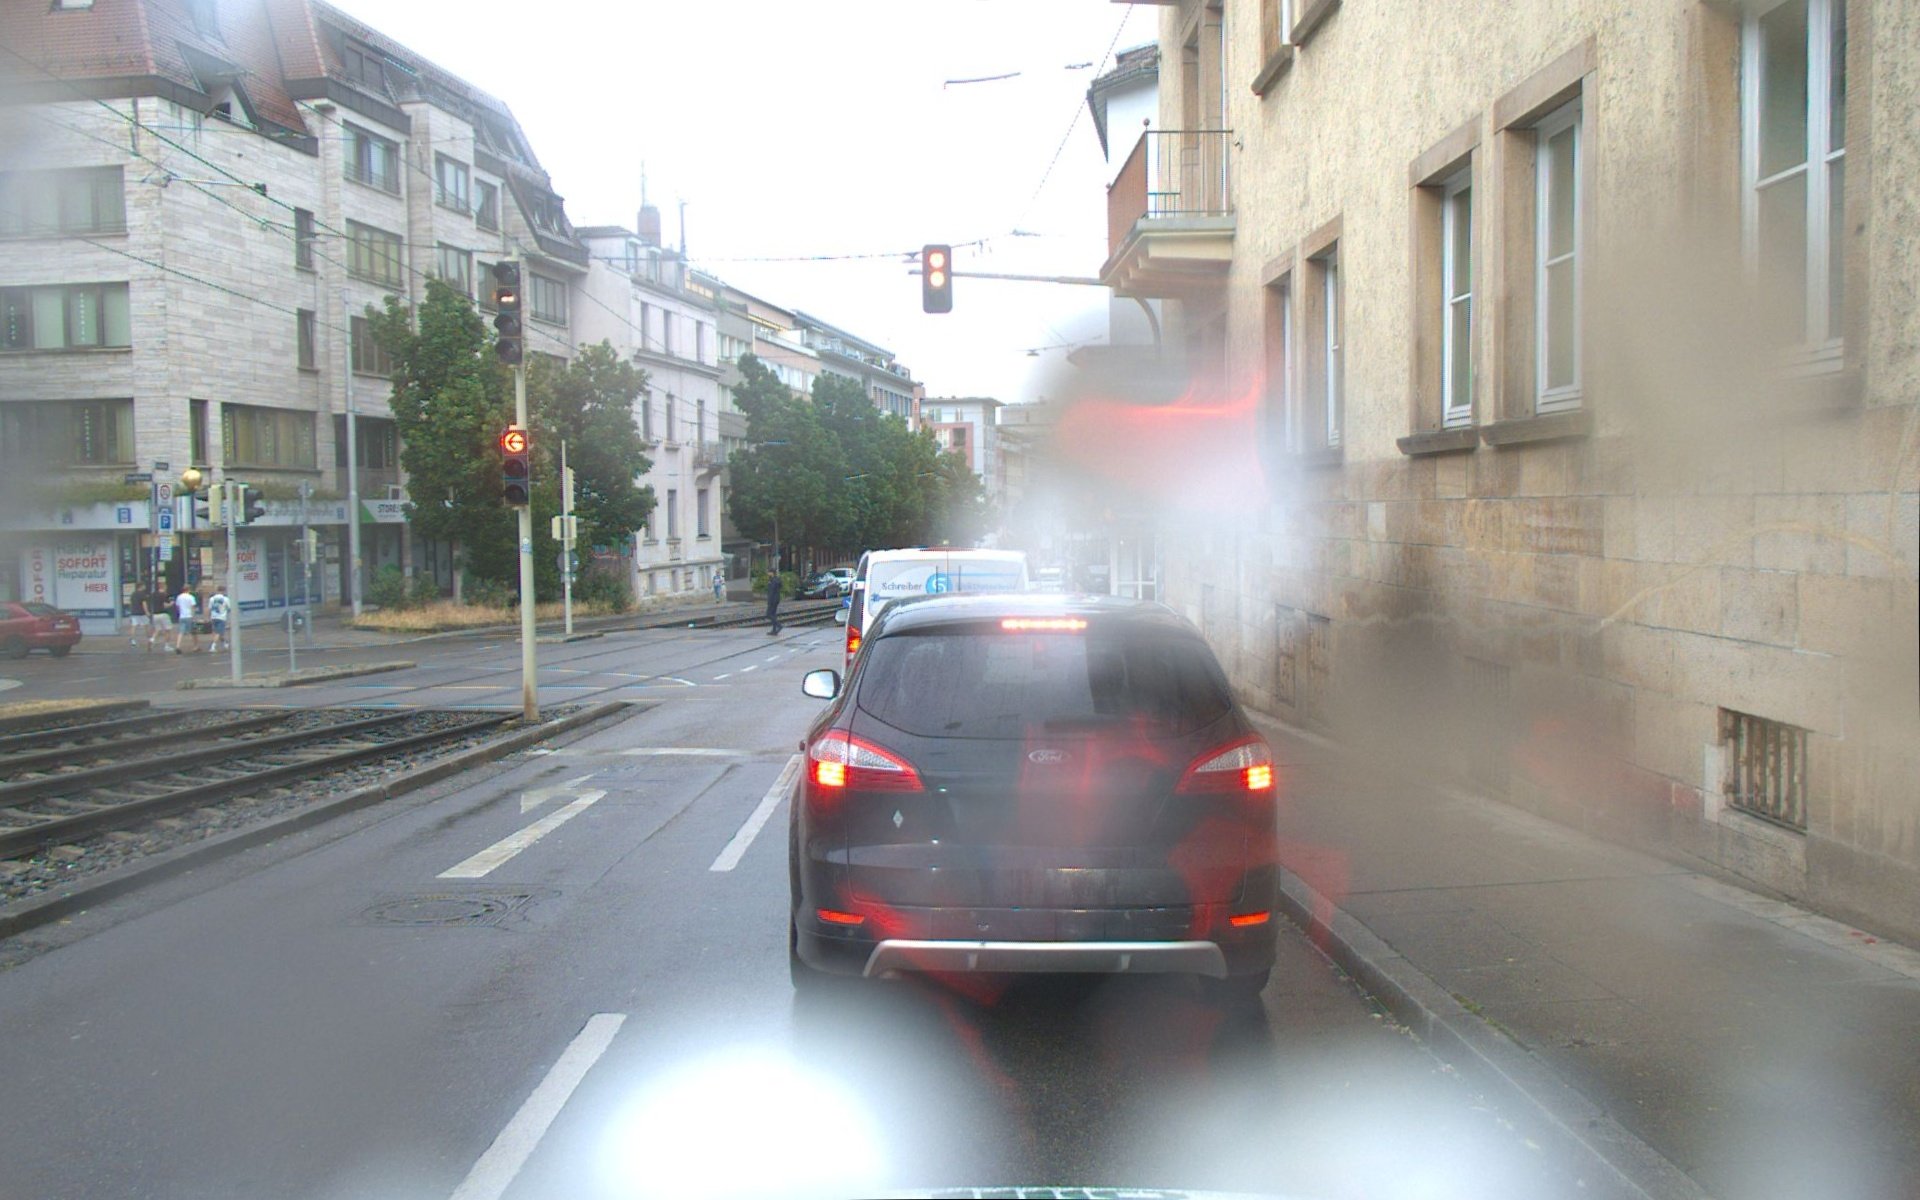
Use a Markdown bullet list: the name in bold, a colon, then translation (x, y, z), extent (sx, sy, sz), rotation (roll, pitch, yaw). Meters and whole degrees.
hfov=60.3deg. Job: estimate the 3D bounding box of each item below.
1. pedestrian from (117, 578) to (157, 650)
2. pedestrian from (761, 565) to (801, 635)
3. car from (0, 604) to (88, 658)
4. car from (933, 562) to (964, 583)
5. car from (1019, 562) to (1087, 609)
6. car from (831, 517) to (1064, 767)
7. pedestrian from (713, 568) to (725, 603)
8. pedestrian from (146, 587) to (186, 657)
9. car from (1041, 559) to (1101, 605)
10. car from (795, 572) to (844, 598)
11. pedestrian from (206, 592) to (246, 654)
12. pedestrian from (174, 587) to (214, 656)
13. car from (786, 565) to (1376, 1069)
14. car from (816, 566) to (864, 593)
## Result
- **pedestrian**: translation (-21.820, 0.369, 43.858), extent (0.634, 1.874, 0.684), rotation (1, 0, 7)
- **pedestrian**: translation (-4.854, -0.002, 44.812), extent (0.911, 1.862, 0.960), rotation (1, 0, 1)
- **car**: translation (-24.371, 0.783, 42.164), extent (3.614, 1.341, 1.595), rotation (-1, 0, 12)
- **car**: translation (-0.982, -2.334, 139.819), extent (1.816, 1.665, 4.939), rotation (0, 0, 9)
- **car**: translation (3.203, -0.485, 55.926), extent (1.763, 1.481, 4.590), rotation (-2, 0, 9)
- **car**: translation (-0.171, 0.360, 16.359), extent (1.948, 2.096, 4.643), rotation (1, 0, -2)
- **pedestrian**: translation (-11.702, -0.702, 80.354), extent (0.458, 1.681, 0.582), rotation (1, 0, -3)
- **pedestrian**: translation (-20.652, 0.573, 43.043), extent (0.634, 1.780, 0.684), rotation (1, 0, 7)
- **car**: translation (4.250, -0.672, 62.791), extent (1.806, 1.661, 4.590), rotation (-1, 0, 9)
- **car**: translation (-7.896, -0.834, 93.621), extent (1.657, 1.401, 4.725), rotation (0, 0, 9)
- **pedestrian**: translation (-18.962, 0.594, 42.734), extent (0.634, 1.576, 0.684), rotation (1, 0, 7)
- **pedestrian**: translation (-19.813, 0.560, 42.801), extent (0.634, 1.754, 0.684), rotation (1, 0, 7)
- **car**: translation (0.343, 0.672, 7.099), extent (1.805, 1.533, 3.999), rotation (1, 0, -1)
- **car**: translation (-7.176, -1.236, 99.554), extent (1.816, 1.575, 4.725), rotation (0, 0, 9)
